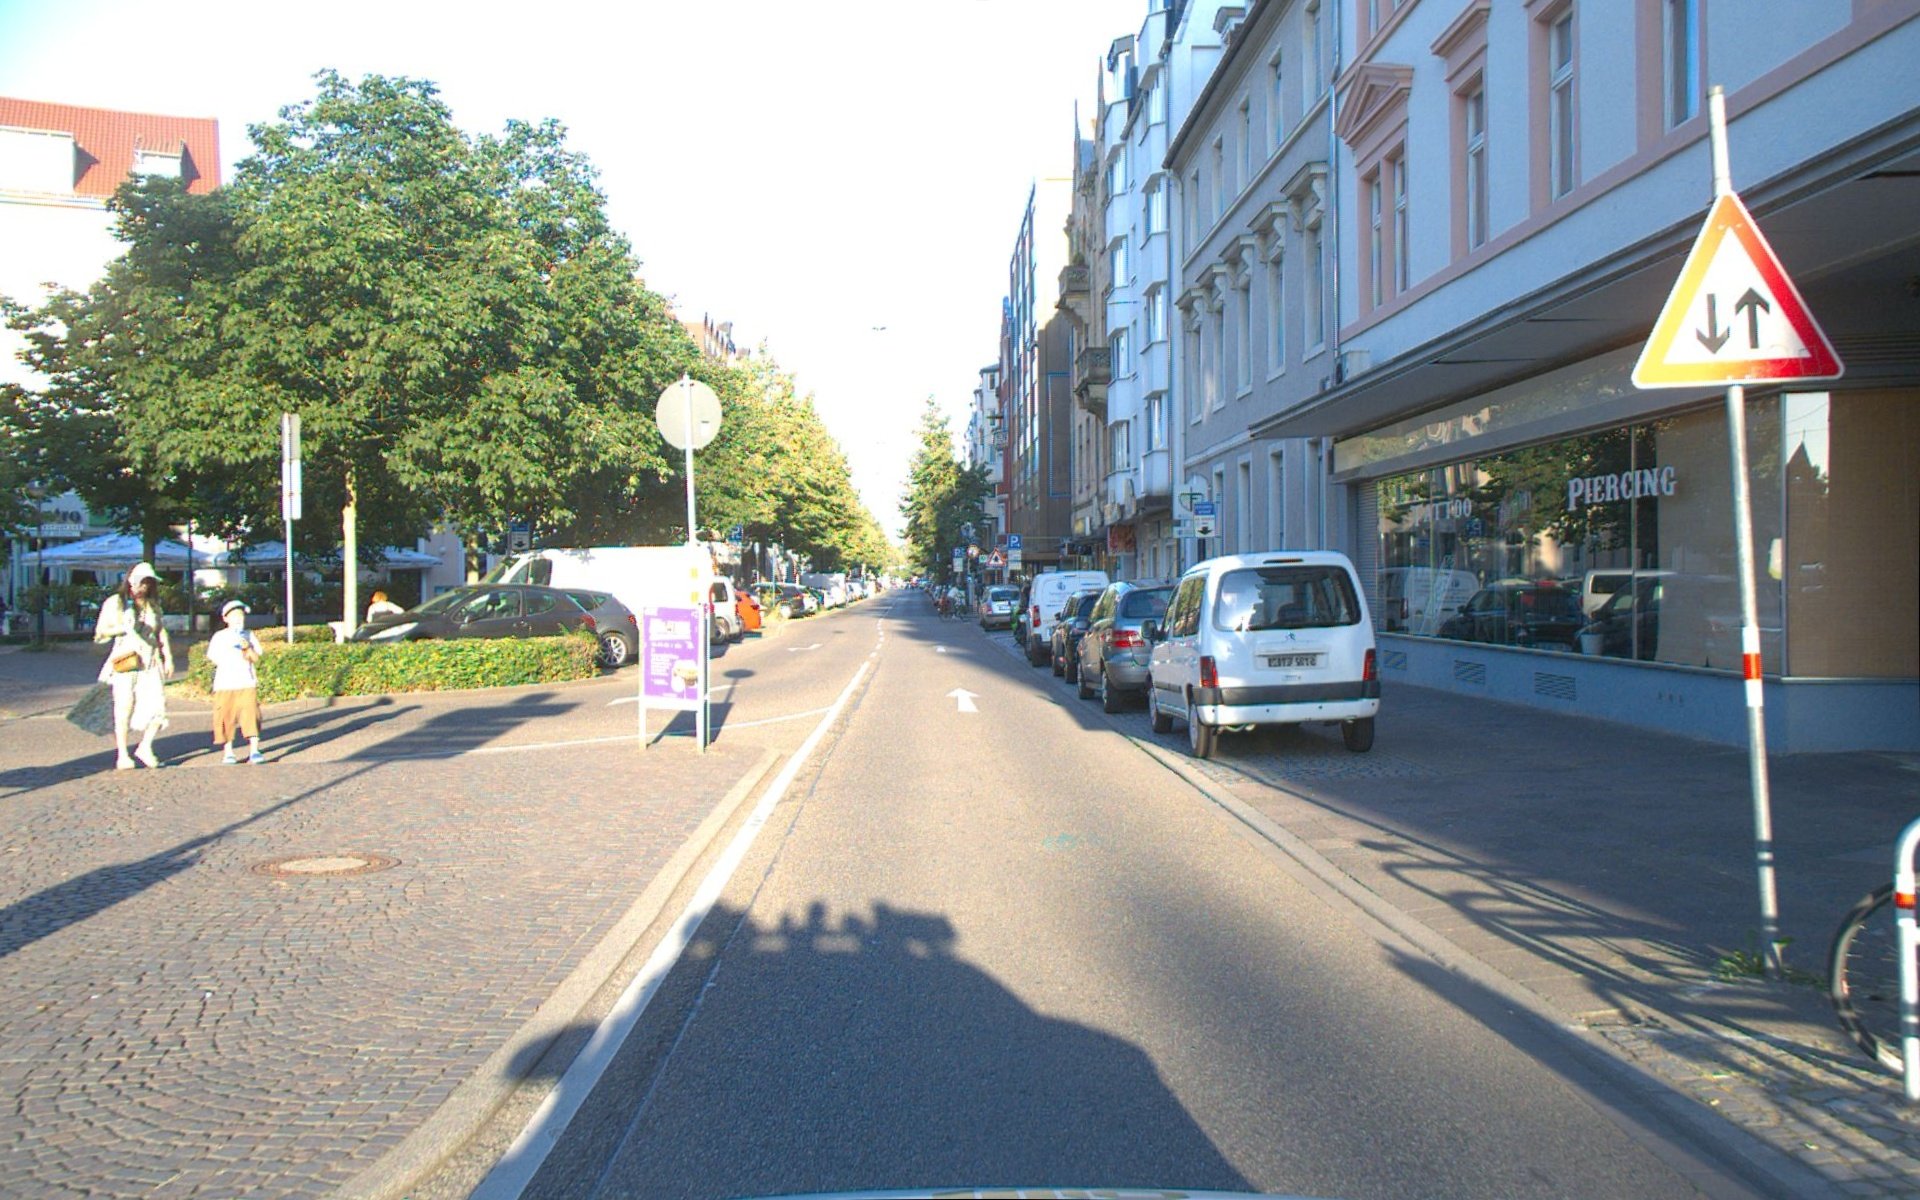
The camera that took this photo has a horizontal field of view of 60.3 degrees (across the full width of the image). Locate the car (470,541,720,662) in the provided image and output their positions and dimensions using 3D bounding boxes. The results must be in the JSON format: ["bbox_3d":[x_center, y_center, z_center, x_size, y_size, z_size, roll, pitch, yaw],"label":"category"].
[{"bbox_3d":[-7.373,0.023,33.487,4.547,2.290,2.182,0,0,-29],"label":"car"}]

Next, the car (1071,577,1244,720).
[{"bbox_3d":[2.493,0.557,21.778,1.623,1.694,4.106,0,1,-2],"label":"car"}]

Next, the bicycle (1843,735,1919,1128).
[{"bbox_3d":[3.442,0.894,4.490,1.751,1.007,0.542,-3,2,21],"label":"bicycle"}]

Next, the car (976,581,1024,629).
[{"bbox_3d":[1.441,0.157,60.556,1.646,1.588,4.001,-2,1,1],"label":"car"}]

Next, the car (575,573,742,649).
[{"bbox_3d":[-7.934,0.246,43.670,3.959,1.911,1.846,0,1,-38],"label":"car"}]

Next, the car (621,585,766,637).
[{"bbox_3d":[-8.113,0.344,50.418,3.947,1.512,1.979,1,0,-31],"label":"car"}]

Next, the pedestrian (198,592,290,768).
[{"bbox_3d":[-5.879,0.637,13.583,0.559,1.388,0.606,0,1,-39],"label":"pedestrian"}]

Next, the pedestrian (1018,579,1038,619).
[{"bbox_3d":[2.832,-0.040,69.257,0.740,1.669,1.258,0,1,-3],"label":"pedestrian"}]

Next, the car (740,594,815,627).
[{"bbox_3d":[-9.966,0.539,90.464,3.909,1.738,1.832,0,1,-3],"label":"car"}]

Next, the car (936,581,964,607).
[{"bbox_3d":[-0.644,-0.378,107.362,1.546,1.569,3.394,-3,0,-4],"label":"car"}]

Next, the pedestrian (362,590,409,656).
[{"bbox_3d":[-11.646,0.458,33.518,0.742,1.299,0.652,0,1,-39],"label":"pedestrian"}]

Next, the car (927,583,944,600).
[{"bbox_3d":[-1.987,-0.711,134.038,1.183,1.323,2.658,1,0,-4],"label":"car"}]

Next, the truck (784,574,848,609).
[{"bbox_3d":[-11.284,-0.678,129.642,4.842,2.660,1.999,1,0,-3],"label":"truck"}]

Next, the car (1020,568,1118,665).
[{"bbox_3d":[2.201,0.289,34.358,1.675,1.867,4.305,0,1,-1],"label":"car"}]

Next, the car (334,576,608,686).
[{"bbox_3d":[-7.758,0.429,26.424,3.850,1.610,1.776,-1,1,-42],"label":"car"}]

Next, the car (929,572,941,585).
[{"bbox_3d":[-3.191,-2.772,210.006,1.283,1.628,2.658,0,0,-4],"label":"car"}]

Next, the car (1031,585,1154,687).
[{"bbox_3d":[2.177,0.555,28.089,1.633,1.571,3.881,0,1,-2],"label":"car"}]

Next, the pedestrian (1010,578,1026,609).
[{"bbox_3d":[3.226,-0.369,92.245,0.750,1.718,0.785,-1,1,-4],"label":"pedestrian"}]

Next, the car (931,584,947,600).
[{"bbox_3d":[-1.789,-0.671,139.402,1.183,1.323,2.658,0,0,-4],"label":"car"}]

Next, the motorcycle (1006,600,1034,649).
[{"bbox_3d":[1.577,0.618,43.649,0.576,1.221,2.209,0,1,-2],"label":"motorcycle"}]

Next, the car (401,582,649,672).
[{"bbox_3d":[-7.796,0.434,29.834,3.965,1.512,1.805,0,1,-42],"label":"car"}]

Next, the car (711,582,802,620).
[{"bbox_3d":[-10.249,0.042,83.481,4.359,1.867,2.033,0,1,-3],"label":"car"}]

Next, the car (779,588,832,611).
[{"bbox_3d":[-11.027,-0.049,118.437,3.664,1.624,1.999,1,0,-3],"label":"car"}]

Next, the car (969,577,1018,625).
[{"bbox_3d":[1.301,0.004,65.513,1.662,1.800,3.998,-1,1,-2],"label":"car"}]

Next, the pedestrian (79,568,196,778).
[{"bbox_3d":[-6.447,0.542,12.958,0.693,1.586,0.685,0,1,-39],"label":"pedestrian"}]

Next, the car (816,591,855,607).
[{"bbox_3d":[-12.216,-0.143,162.556,3.664,1.519,1.999,1,0,-3],"label":"car"}]

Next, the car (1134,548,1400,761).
[{"bbox_3d":[2.872,0.452,16.328,1.756,1.823,4.090,-1,0,-2],"label":"car"}]
